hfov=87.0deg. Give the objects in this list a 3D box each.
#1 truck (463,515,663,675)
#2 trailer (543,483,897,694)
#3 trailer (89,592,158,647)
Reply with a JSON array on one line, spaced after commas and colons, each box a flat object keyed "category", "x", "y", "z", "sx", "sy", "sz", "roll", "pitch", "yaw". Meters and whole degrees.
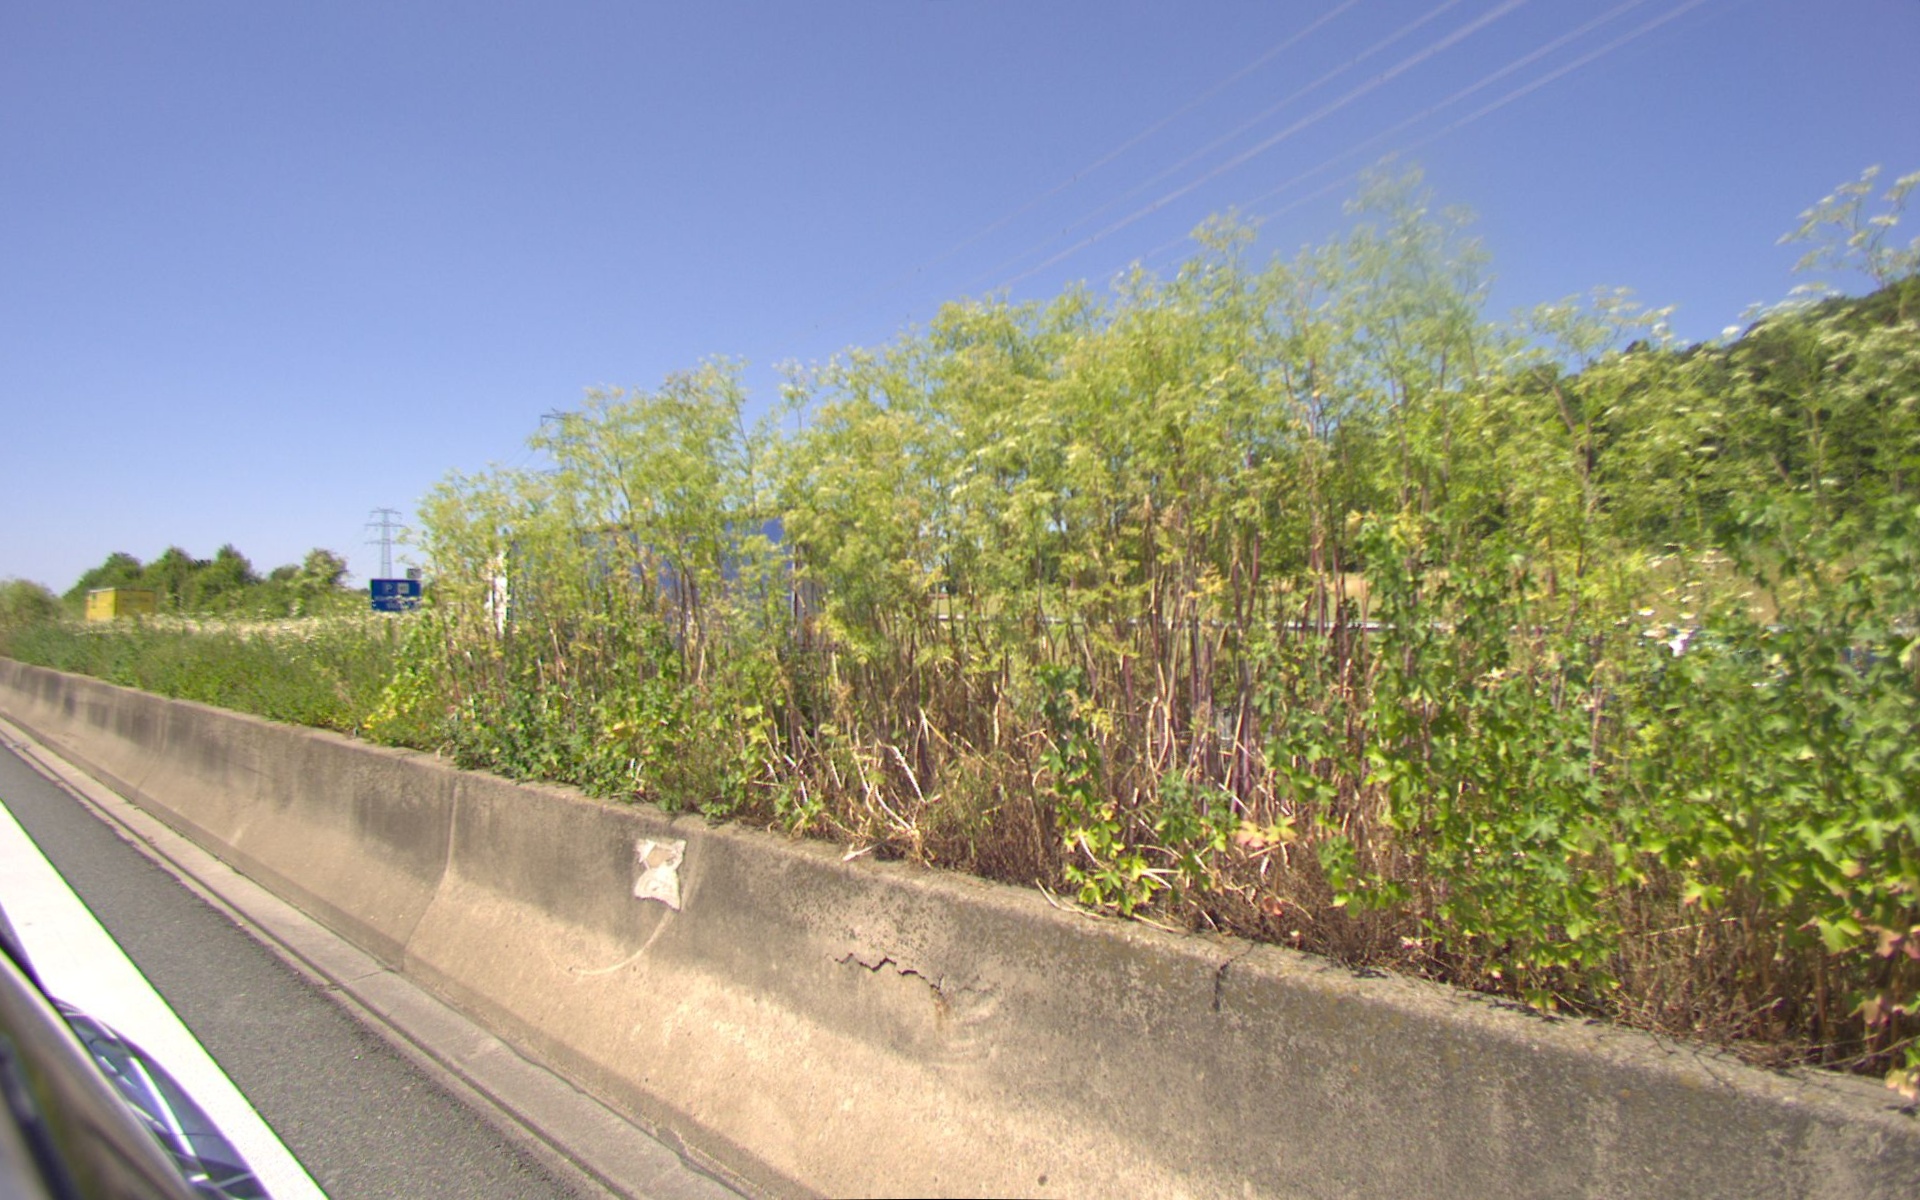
[{"category": "truck", "x": -12.029, "y": -0.106, "z": 30.363, "sx": 6.685, "sy": 4.260, "sz": 2.979, "roll": -1, "pitch": -1, "yaw": 43}, {"category": "trailer", "x": -6.440, "y": -0.179, "z": 25.255, "sx": 10.980, "sy": 4.260, "sz": 2.979, "roll": -1, "pitch": -1, "yaw": 43}, {"category": "trailer", "x": -68.430, "y": 1.537, "z": 82.664, "sx": 10.683, "sy": 4.238, "sz": 2.792, "roll": 0, "pitch": 1, "yaw": 42}]
